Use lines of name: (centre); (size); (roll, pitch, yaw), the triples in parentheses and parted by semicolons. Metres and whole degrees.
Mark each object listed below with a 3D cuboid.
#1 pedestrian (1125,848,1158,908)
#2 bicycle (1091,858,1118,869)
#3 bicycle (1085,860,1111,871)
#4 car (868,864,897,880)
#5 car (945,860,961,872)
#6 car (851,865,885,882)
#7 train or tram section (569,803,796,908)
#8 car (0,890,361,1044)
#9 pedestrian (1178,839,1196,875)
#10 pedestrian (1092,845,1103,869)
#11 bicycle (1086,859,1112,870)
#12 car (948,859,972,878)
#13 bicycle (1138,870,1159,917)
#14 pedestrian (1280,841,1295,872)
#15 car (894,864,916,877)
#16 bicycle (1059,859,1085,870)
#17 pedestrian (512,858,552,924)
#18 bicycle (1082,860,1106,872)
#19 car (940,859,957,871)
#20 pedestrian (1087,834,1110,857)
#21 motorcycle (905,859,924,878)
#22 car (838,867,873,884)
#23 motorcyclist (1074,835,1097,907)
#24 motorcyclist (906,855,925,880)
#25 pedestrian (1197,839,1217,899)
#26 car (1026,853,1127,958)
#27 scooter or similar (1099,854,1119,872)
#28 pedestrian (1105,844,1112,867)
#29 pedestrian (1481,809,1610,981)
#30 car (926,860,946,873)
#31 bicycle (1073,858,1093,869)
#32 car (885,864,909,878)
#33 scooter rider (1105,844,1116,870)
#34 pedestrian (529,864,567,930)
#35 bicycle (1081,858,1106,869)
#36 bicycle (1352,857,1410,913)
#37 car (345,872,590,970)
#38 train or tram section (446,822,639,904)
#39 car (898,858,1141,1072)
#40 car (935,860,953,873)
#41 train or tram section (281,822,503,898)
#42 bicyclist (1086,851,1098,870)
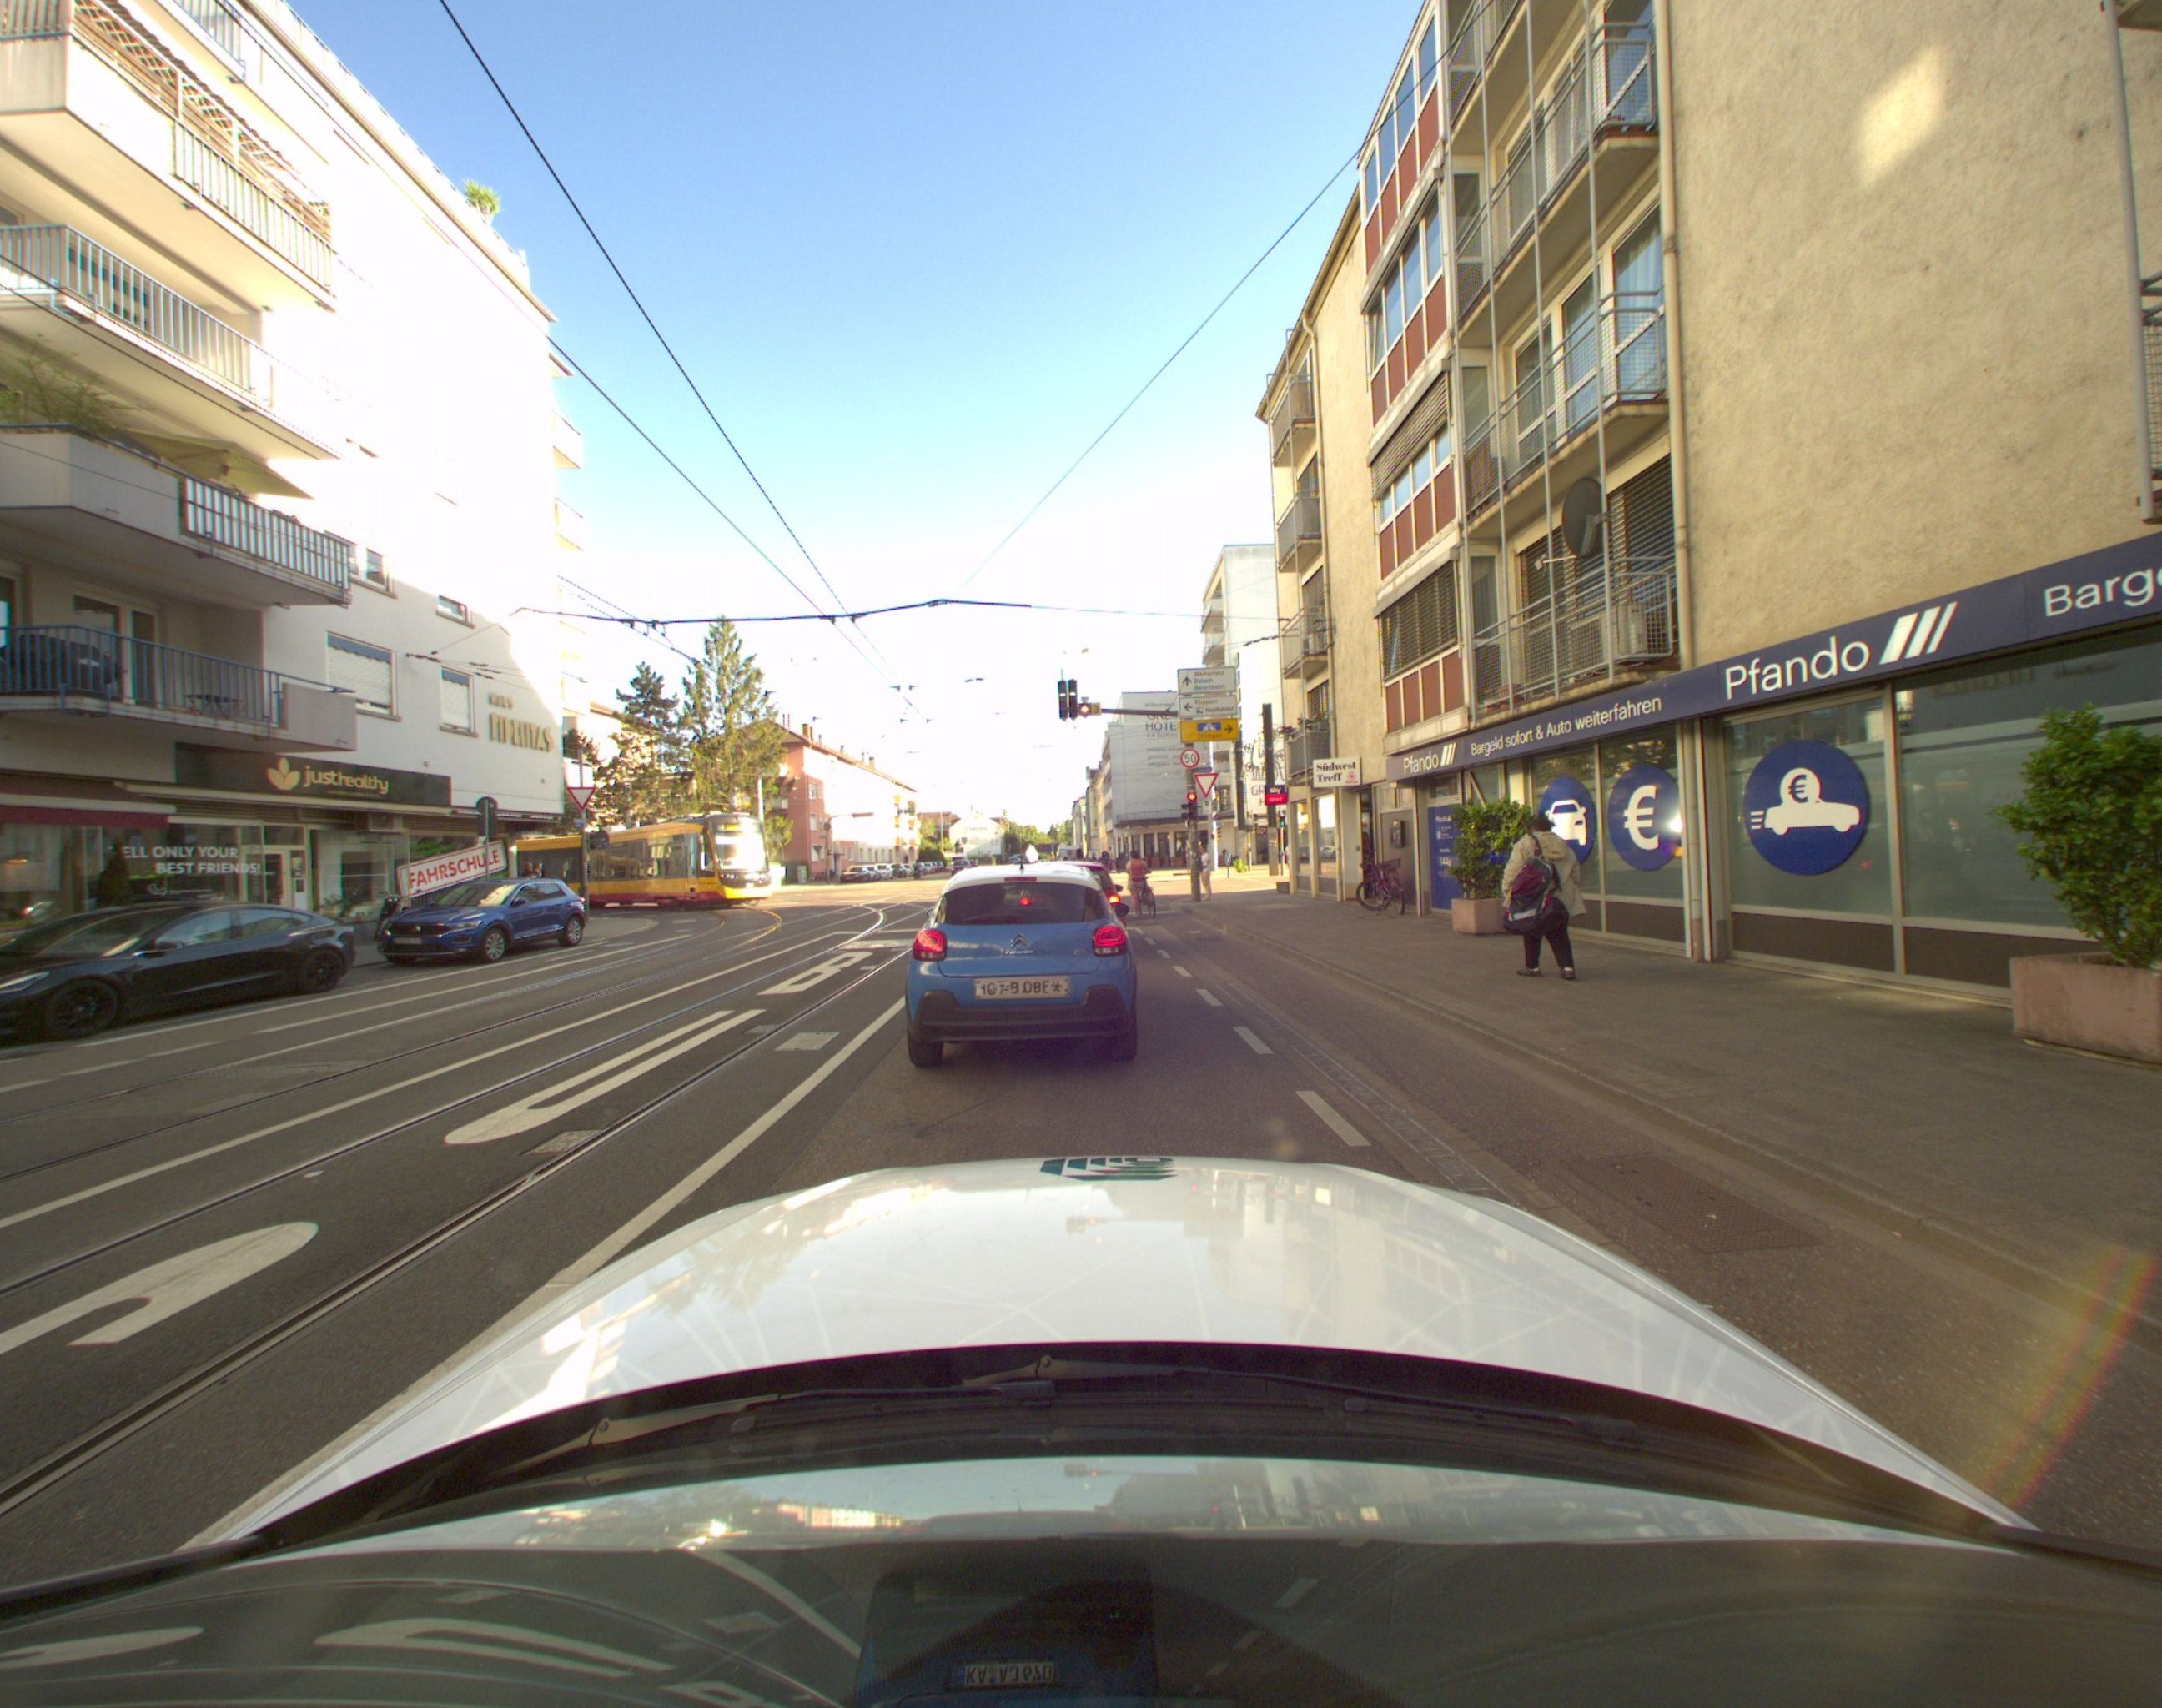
pedestrian: (1.507, 0.585, 20.306); (0.774, 1.460, 0.682); (0, -1, 1)
bicycle: (1.915, 0.766, 66.058); (2.130, 0.901, 0.366); (0, -1, -7)
bicycle: (1.435, 0.916, 67.673); (2.130, 0.901, 0.366); (0, -1, -7)
car: (-19.431, 1.739, 79.879); (1.781, 1.511, 4.150); (0, 0, 1)
car: (-19.171, 1.758, 121.878); (1.841, 1.687, 3.872); (0, -1, -1)
car: (-19.480, 1.786, 74.705); (1.808, 1.498, 4.302); (0, 0, 2)
train or tram section: (-16.493, 0.228, 32.936); (12.467, 3.593, 3.092); (-3, 0, 39)
car: (-12.093, 1.294, 10.443); (1.816, 1.387, 4.425); (-3, 0, -2)
pedestrian: (6.108, 0.169, 46.933); (0.922, 2.014, 0.760); (0, -1, 1)
pedestrian: (1.394, 0.257, 69.231); (0.635, 2.014, 0.717); (0, -1, -34)
bicycle: (1.484, 0.864, 67.199); (2.130, 0.901, 0.366); (0, -1, -7)
car: (-11.359, 1.338, 76.877); (1.770, 1.666, 3.854); (0, -1, -2)
bicycle: (1.690, 0.975, 20.677); (0.426, 1.123, 1.999); (0, -1, 2)
pedestrian: (10.766, 0.136, 42.442); (0.730, 1.601, 0.751); (-1, -1, 15)
car: (-19.985, 1.846, 92.720); (1.728, 1.498, 3.996); (0, -1, -2)
bicycle: (-0.717, 0.874, 66.439); (2.130, 0.901, 0.366); (0, -1, -7)
pedestrian: (-17.197, 1.147, 25.517); (0.767, 2.014, 0.694); (0, -1, -4)
bicycle: (0.987, 0.937, 63.220); (1.837, 0.903, 0.352); (-1, -1, 21)
car: (-19.013, 1.522, 117.242); (1.828, 1.687, 3.998); (0, -1, -1)
pedestrian: (1.629, -0.731, 73.690); (1.986, 2.014, 4.001); (0, -1, 2)
motorcycle: (-13.702, 1.160, 67.132); (0.921, 1.486, 3.724); (0, -1, -1)
car: (-19.179, 1.810, 69.425); (1.787, 1.421, 3.996); (0, 0, 1)
motorcyclist: (0.117, 0.402, 19.749); (0.524, 1.716, 0.717); (0, -1, 2)
motorcyclist: (-13.696, 1.096, 67.397); (1.182, 2.013, 1.275); (-2, 0, -1)
pedestrian: (3.778, 0.440, 24.420); (0.515, 1.783, 0.595); (0, -1, 0)
car: (-0.019, 0.764, 13.296); (1.419, 1.467, 2.925); (-2, -1, 2)
scooter or similar: (2.030, 0.654, 58.862); (1.344, 1.269, 0.444); (-3, -1, 2)
pedestrian: (2.354, 0.140, 70.200); (0.575, 2.014, 0.625); (0, -1, -1)
pedestrian: (4.485, 0.381, 7.918); (0.822, 1.593, 0.751); (0, -1, 1)
car: (-18.949, 1.670, 106.776); (1.978, 1.687, 3.998); (0, -1, -1)
bicycle: (0.181, 0.820, 69.582); (1.765, 0.901, 0.369); (-1, -1, 36)
car: (-19.561, 1.774, 86.658); (1.781, 1.498, 3.998); (0, -1, -1)
scooter rider: (2.111, 0.219, 58.864); (0.719, 1.832, 0.718); (-3, -1, 2)
pedestrian: (-14.974, 1.199, 22.886); (0.569, 1.805, 0.699); (0, -1, 1)
bicycle: (1.055, 0.816, 68.426); (2.130, 0.901, 0.366); (0, -1, -7)
bicycle: (5.738, 0.571, 15.671); (0.540, 0.998, 1.706); (0, -1, 2)
car: (-11.974, 1.219, 16.304); (1.864, 1.531, 4.068); (-2, 0, -2)
train or tram section: (-25.759, 0.425, 38.893); (8.978, 3.631, 2.849); (-1, -1, 20)
car: (-0.364, 0.768, 7.298); (1.648, 1.444, 3.524); (0, -1, 2)
car: (-18.872, 1.677, 112.058); (1.877, 1.687, 3.998); (0, -1, -1)
train or tram section: (-36.617, 0.375, 43.079); (14.093, 3.632, 2.768); (-1, -1, 22)
bicyclist: (0.872, 0.524, 63.239); (0.739, 1.477, 0.565); (-1, -1, 19)
